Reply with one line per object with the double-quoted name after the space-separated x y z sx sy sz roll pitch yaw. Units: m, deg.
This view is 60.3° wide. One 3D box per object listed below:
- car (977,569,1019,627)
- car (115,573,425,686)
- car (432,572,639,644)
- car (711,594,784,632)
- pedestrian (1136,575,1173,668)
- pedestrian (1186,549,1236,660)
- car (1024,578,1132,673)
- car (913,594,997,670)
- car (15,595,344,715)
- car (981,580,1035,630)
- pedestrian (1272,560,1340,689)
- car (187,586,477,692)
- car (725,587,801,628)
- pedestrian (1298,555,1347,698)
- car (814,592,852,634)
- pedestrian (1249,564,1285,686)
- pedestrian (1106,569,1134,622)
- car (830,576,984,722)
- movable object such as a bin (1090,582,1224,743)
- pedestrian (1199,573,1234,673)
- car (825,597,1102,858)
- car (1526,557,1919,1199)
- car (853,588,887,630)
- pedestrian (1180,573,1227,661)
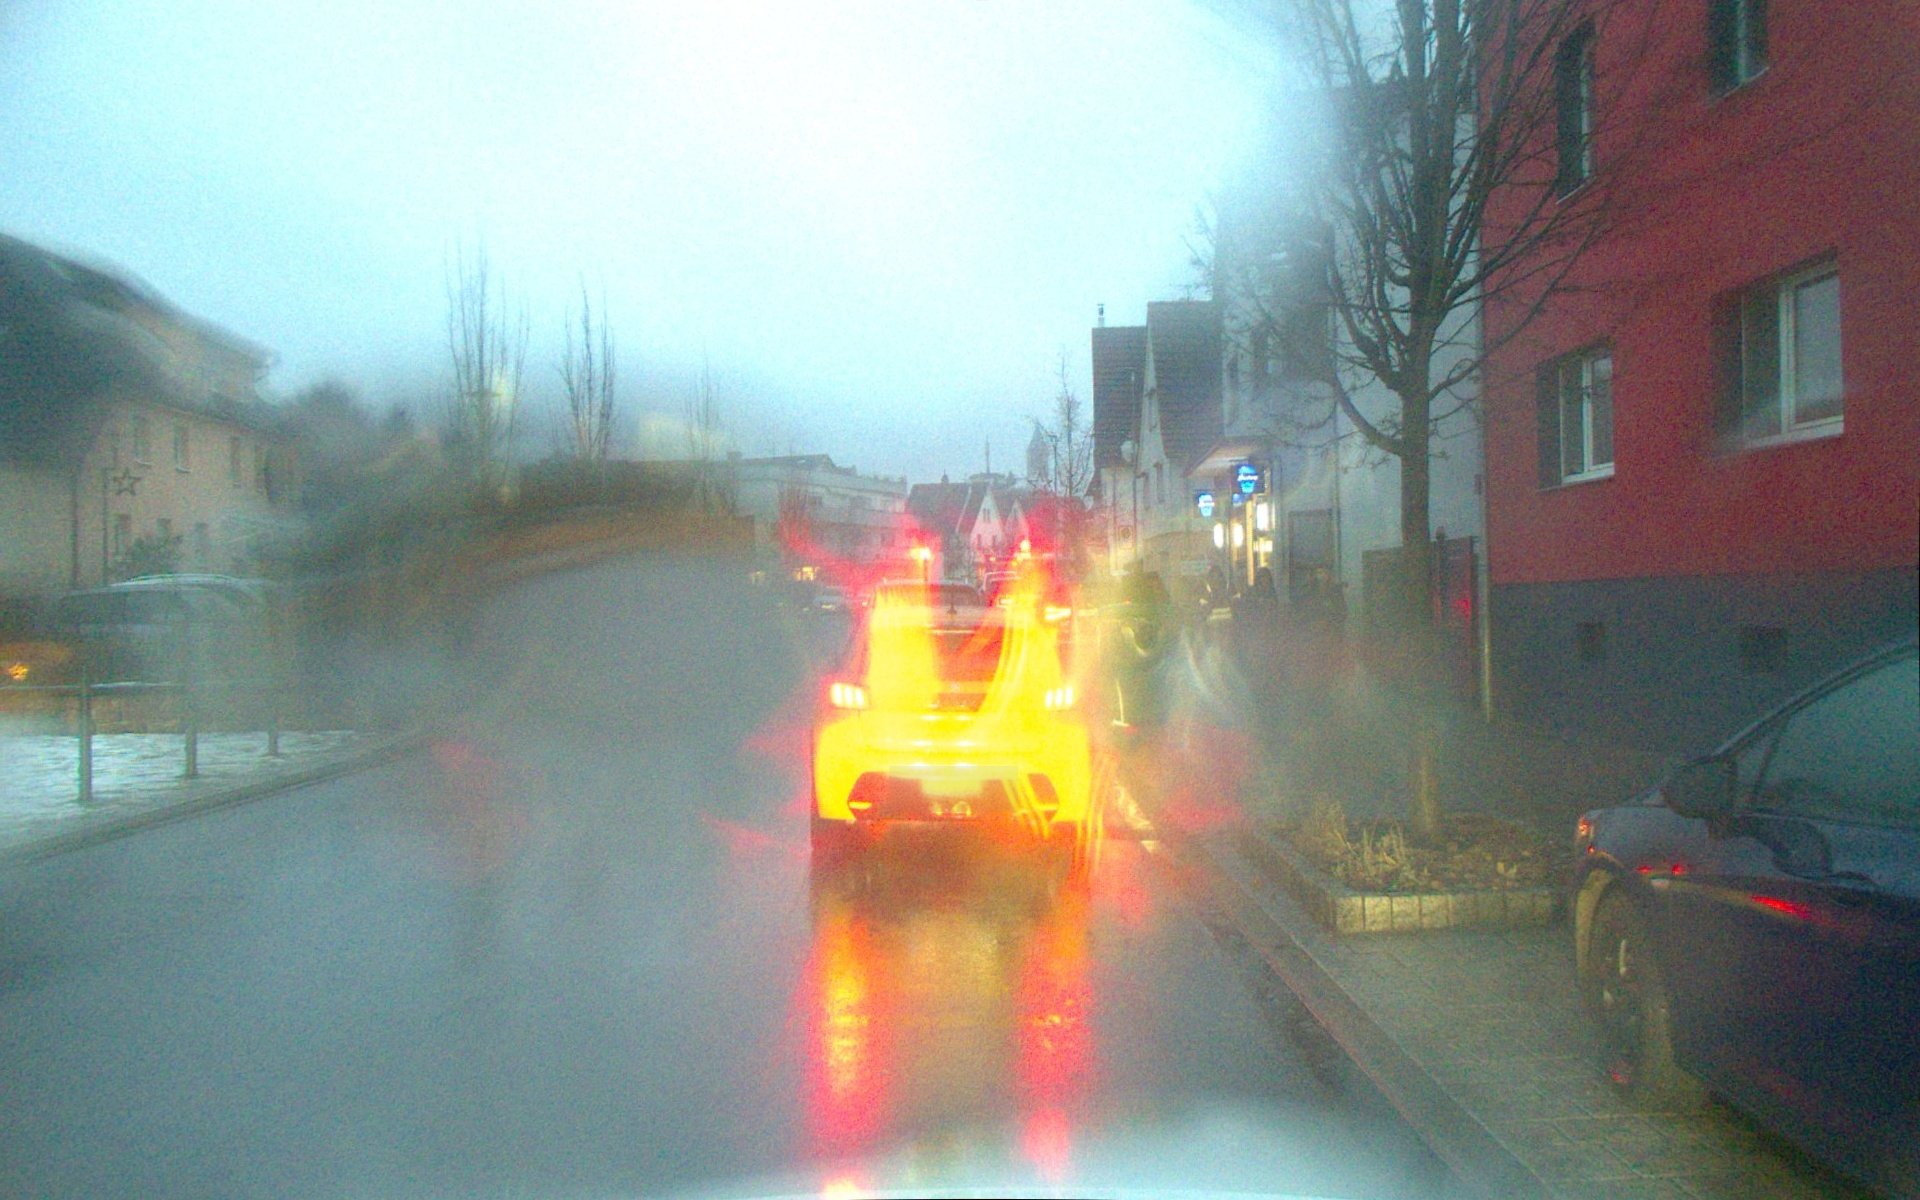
1.743 -0.073 77.043 1.832 2.512 4.443 1 -2 0 "car"
-9.845 0.404 23.752 3.713 1.549 1.716 0 -1 6 "car"
-10.203 0.198 40.042 4.533 1.697 1.999 0 -1 -3 "car"
-11.753 0.743 91.299 4.097 2.011 1.810 -1 -3 43 "car"
3.690 0.407 31.429 0.561 1.729 0.653 -2 -1 0 "pedestrian"
4.087 0.067 26.900 0.697 1.745 1.035 -2 1 13 "pedestrian"
2.257 0.463 32.743 1.700 1.722 4.385 -1 0 -2 "car"
-0.116 0.581 32.036 1.510 1.355 3.310 1 0 -1 "car"
-9.809 0.665 20.966 3.375 1.396 1.600 -1 0 -2 "car"
1.838 0.196 64.631 1.957 1.897 4.082 0 0 0 "car"
4.744 0.339 22.735 0.731 1.708 1.052 -2 -1 5 "pedestrian"
-9.999 0.614 26.501 4.008 1.636 1.588 0 -1 2 "car"
-11.188 0.442 93.838 4.310 2.204 1.987 -1 -3 43 "car"
4.359 0.329 19.937 0.517 1.682 0.954 0 -2 9 "pedestrian"
-6.674 0.727 87.321 1.881 2.063 3.972 1 -2 -3 "car"
4.675 0.369 25.216 0.517 1.832 0.865 0 0 9 "pedestrian"
4.725 -0.129 48.936 0.608 1.542 0.731 -1 1 -14 "pedestrian"
-0.586 0.549 20.866 1.730 1.657 3.586 1 0 1 "car"
1.917 0.586 16.377 1.106 1.445 1.417 -4 1 1 "movable object such as a bin"
4.365 0.380 28.096 0.469 1.659 1.020 -2 1 13 "pedestrian"
0.001 0.712 10.777 1.531 1.437 3.017 1 0 -1 "car"
2.759 0.652 3.502 1.693 1.490 4.199 -3 1 1 "car"
-5.136 0.562 95.088 1.881 2.254 3.972 1 -2 -3 "car"
4.677 0.314 31.846 0.608 1.655 0.903 -1 1 -14 "pedestrian"
